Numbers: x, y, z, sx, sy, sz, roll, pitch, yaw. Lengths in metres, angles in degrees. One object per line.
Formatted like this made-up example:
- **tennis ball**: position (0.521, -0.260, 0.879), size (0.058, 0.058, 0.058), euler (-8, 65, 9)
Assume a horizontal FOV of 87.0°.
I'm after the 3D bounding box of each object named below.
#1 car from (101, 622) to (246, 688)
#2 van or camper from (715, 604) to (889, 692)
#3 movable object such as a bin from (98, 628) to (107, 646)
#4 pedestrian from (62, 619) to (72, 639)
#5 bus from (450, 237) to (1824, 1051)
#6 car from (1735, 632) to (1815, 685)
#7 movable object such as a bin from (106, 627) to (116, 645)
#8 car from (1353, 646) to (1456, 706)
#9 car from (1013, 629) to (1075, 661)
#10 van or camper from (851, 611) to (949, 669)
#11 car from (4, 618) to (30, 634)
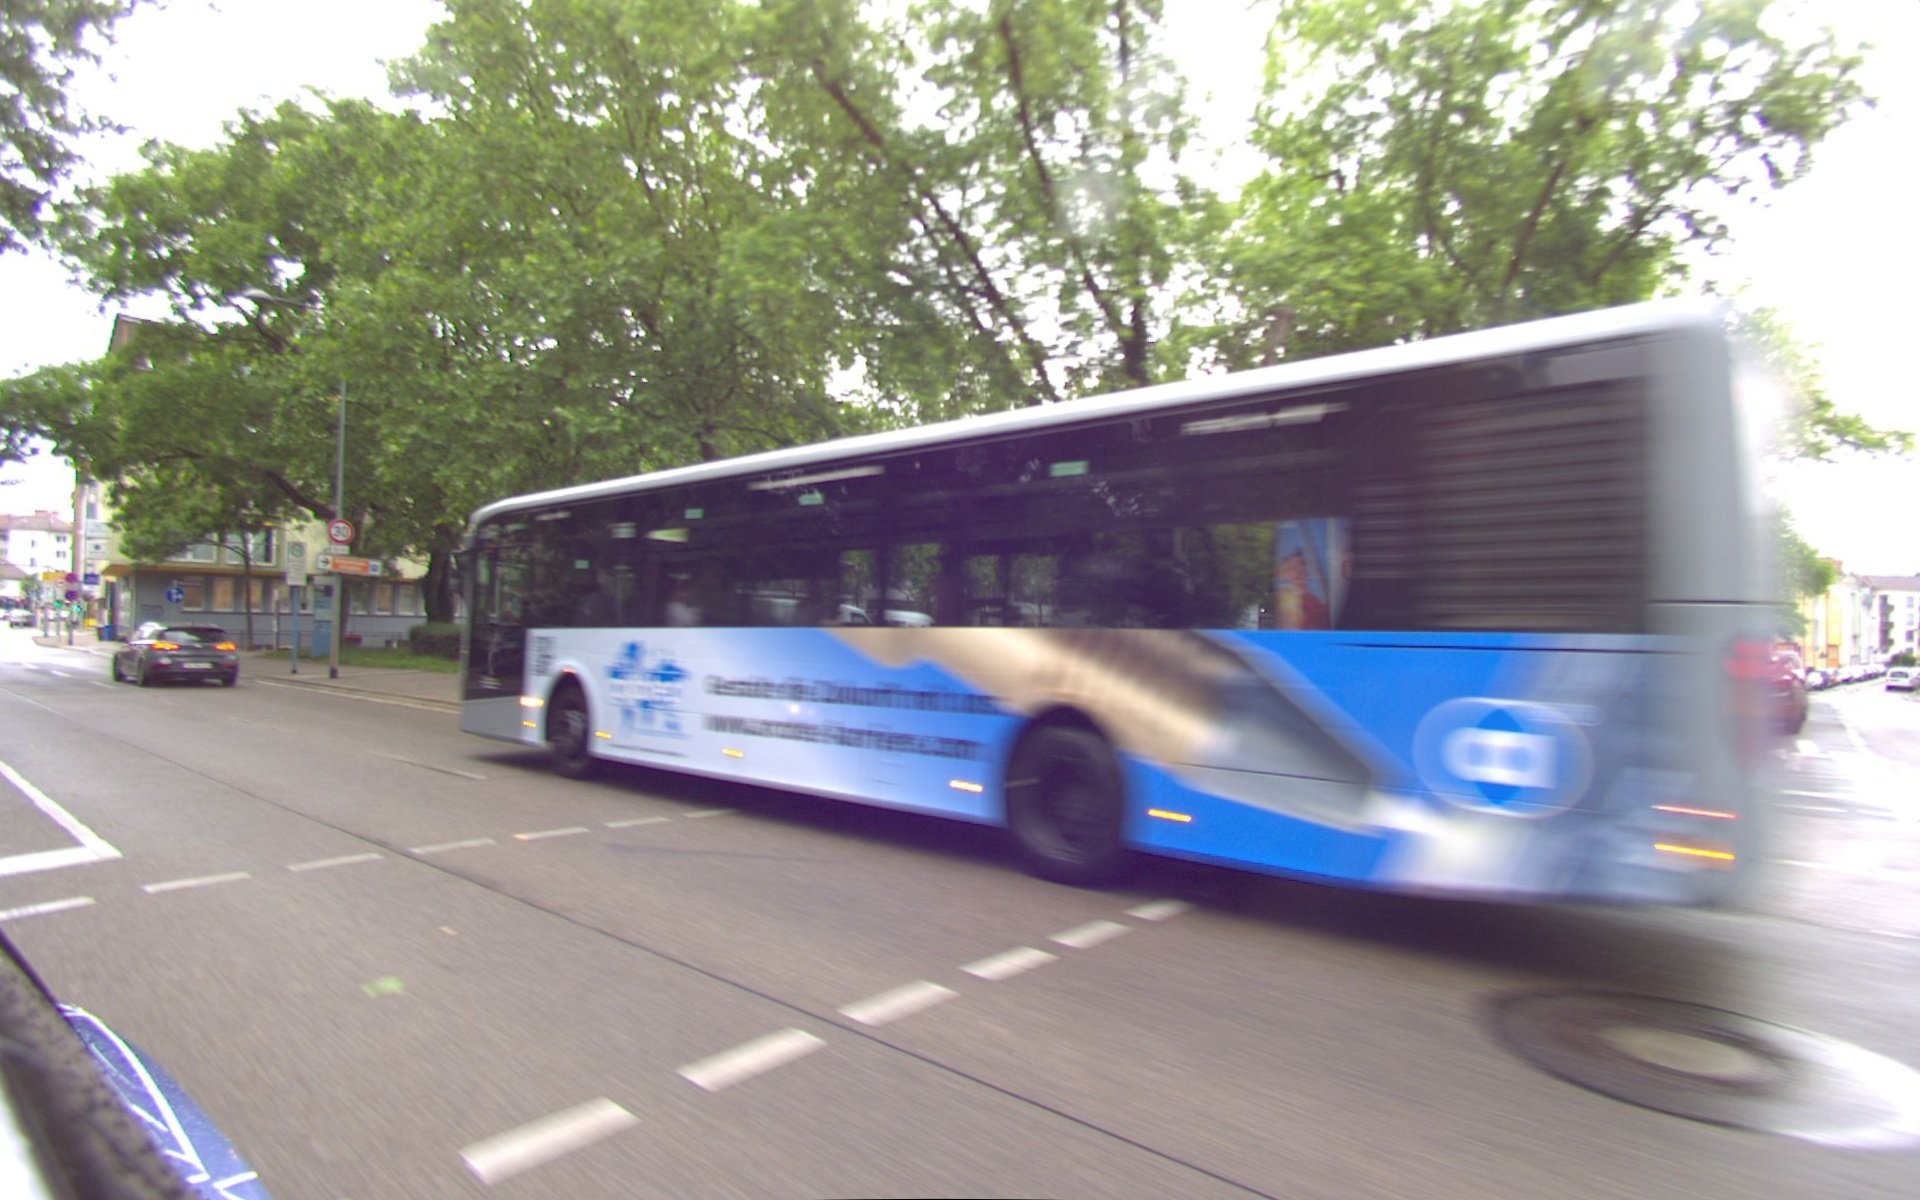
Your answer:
- **car**: position (-18.483, 1.262, 23.734), size (4.027, 1.428, 1.790), euler (-1, -4, 40)
- **van or camper**: position (-4.184, 1.288, 27.454), size (2.046, 2.186, 4.439), euler (0, -3, 38)
- **movable object such as a bin**: position (-49.936, 2.154, 58.937), size (0.333, 1.037, 0.354), euler (4, -4, -42)
- **pedestrian**: position (-84.637, 2.751, 95.937), size (0.586, 1.858, 0.565), euler (4, -4, -42)
- **bus**: position (-0.395, 0.234, 8.639), size (11.775, 2.997, 2.737), euler (-1, -3, 41)
- **car**: position (27.678, 1.969, 34.341), size (1.921, 1.641, 3.873), euler (0, -3, 42)
- **movable object such as a bin**: position (-49.716, 2.114, 59.248), size (0.409, 1.037, 0.354), euler (4, -4, -42)
- **car**: position (12.605, 2.086, 28.578), size (1.815, 1.527, 3.949), euler (0, -2, 37)
- **car**: position (4.987, 2.664, 59.842), size (1.815, 1.787, 3.884), euler (-1, -3, 38)
- **van or camper**: position (-2.716, 1.851, 46.637), size (2.097, 2.556, 4.368), euler (0, -3, 39)
- **car**: position (-102.261, 2.827, 109.750), size (4.002, 1.730, 1.863), euler (-1, -4, 45)
